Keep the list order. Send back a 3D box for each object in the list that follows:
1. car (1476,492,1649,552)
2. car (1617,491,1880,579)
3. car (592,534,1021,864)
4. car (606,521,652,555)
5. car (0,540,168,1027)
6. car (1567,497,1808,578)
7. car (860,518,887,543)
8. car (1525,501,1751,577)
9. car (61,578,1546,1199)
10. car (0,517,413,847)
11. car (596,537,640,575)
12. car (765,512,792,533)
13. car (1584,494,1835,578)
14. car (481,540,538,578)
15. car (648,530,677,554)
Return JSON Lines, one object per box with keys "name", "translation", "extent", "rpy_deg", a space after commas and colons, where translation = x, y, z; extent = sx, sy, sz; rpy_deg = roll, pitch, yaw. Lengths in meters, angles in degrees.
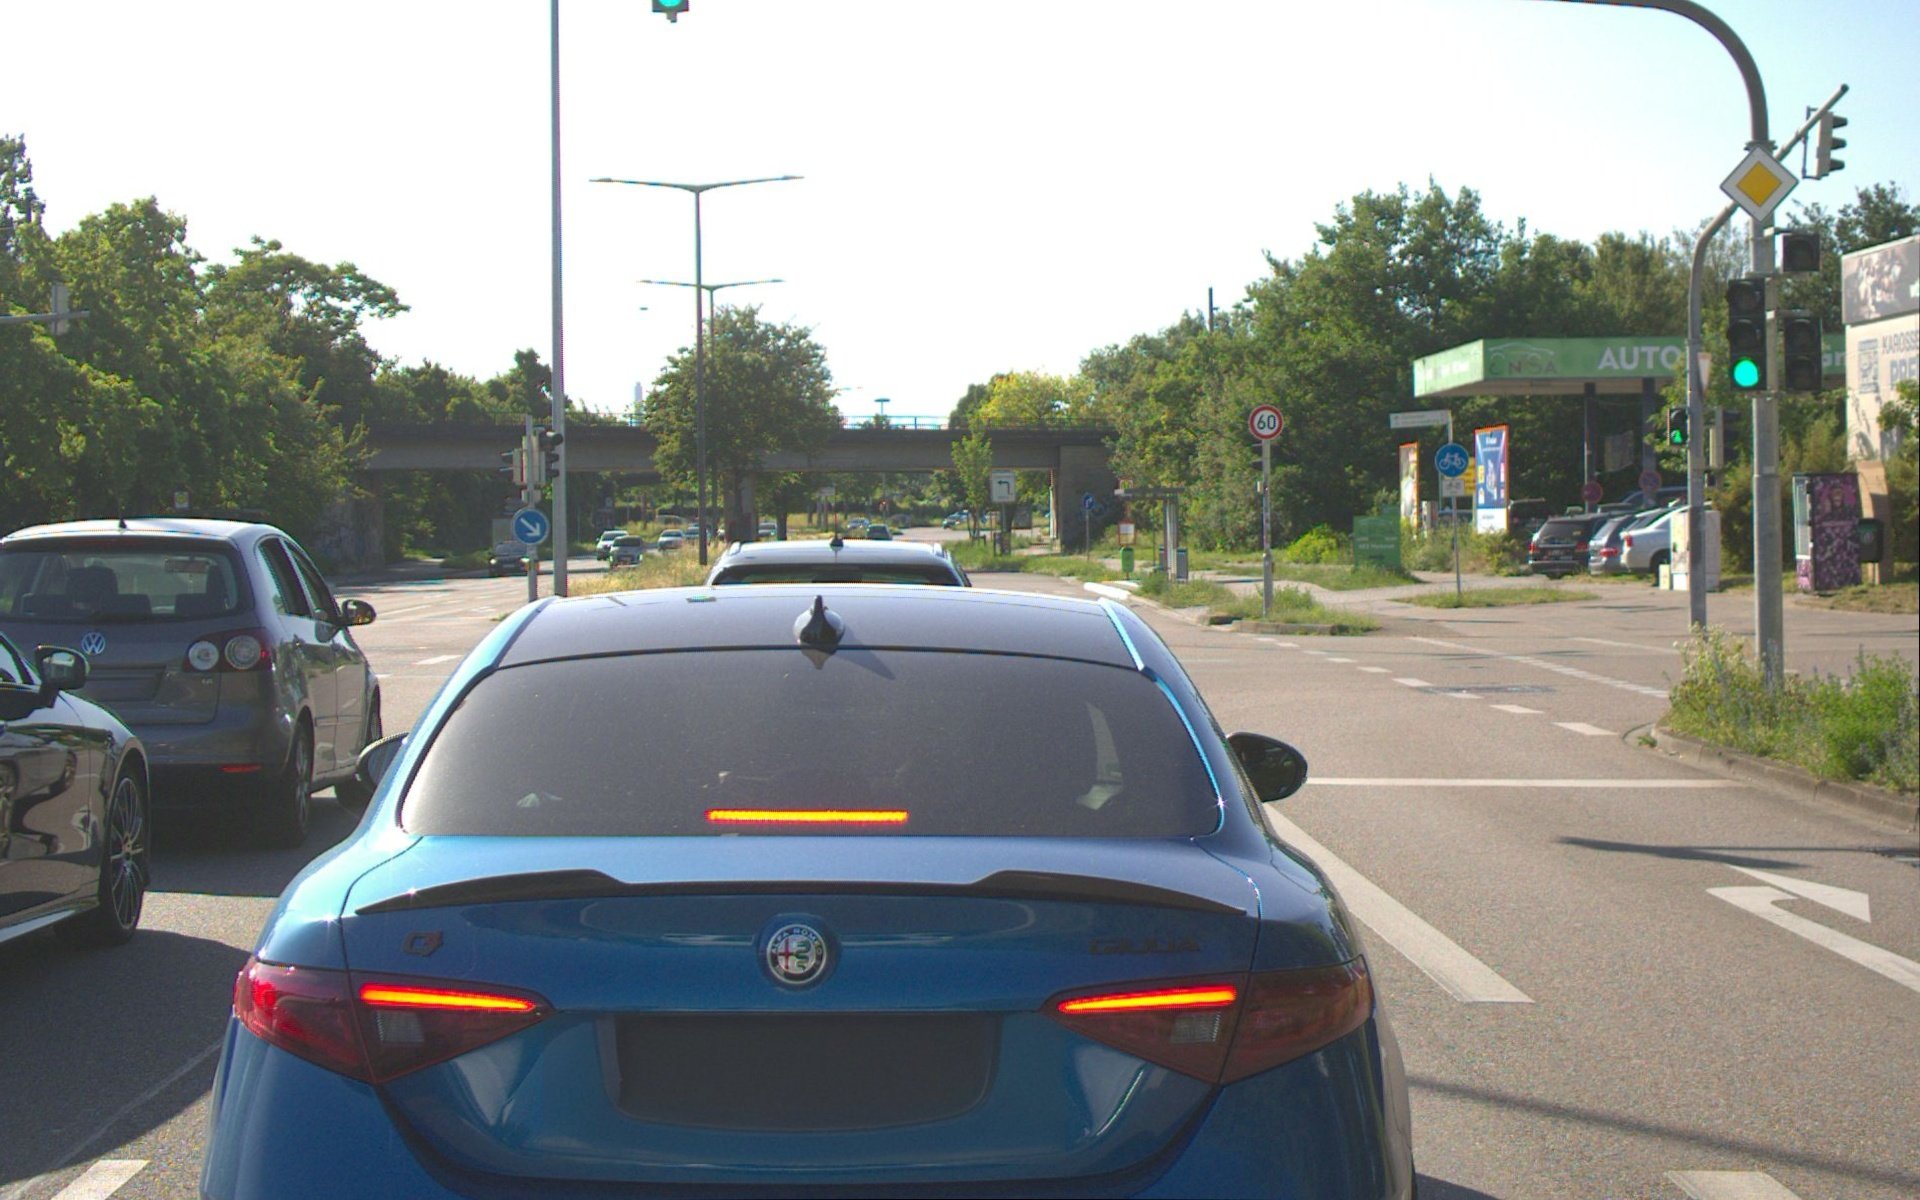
{"name": "car", "translation": [17.039, -2.201, 97.327], "extent": [4.551, 1.485, 1.765], "rpy_deg": [-2, 1, 1]}
{"name": "car", "translation": [14.771, -1.213, 64.580], "extent": [4.489, 1.449, 1.858], "rpy_deg": [-2, 1, 1]}
{"name": "car", "translation": [-0.731, 0.409, 17.179], "extent": [1.850, 1.413, 4.403], "rpy_deg": [1, 1, -2]}
{"name": "car", "translation": [-15.429, -2.873, 160.385], "extent": [1.759, 1.485, 3.837], "rpy_deg": [-2, 1, 0]}
{"name": "car", "translation": [-3.823, 0.545, 10.673], "extent": [1.796, 1.485, 4.476], "rpy_deg": [1, 1, -2]}
{"name": "car", "translation": [14.811, -1.269, 70.113], "extent": [4.489, 1.449, 1.858], "rpy_deg": [-2, 1, 1]}
{"name": "car", "translation": [-6.418, -5.155, 254.835], "extent": [1.891, 1.809, 4.000], "rpy_deg": [1, 1, -1]}
{"name": "car", "translation": [14.591, -1.317, 74.163], "extent": [4.489, 1.449, 1.858], "rpy_deg": [-2, 1, 1]}
{"name": "car", "translation": [-0.264, 0.686, 6.617], "extent": [1.895, 1.413, 4.403], "rpy_deg": [1, 1, -2]}
{"name": "car", "translation": [-4.015, 0.349, 17.846], "extent": [1.759, 1.485, 4.403], "rpy_deg": [1, 1, -2]}
{"name": "car", "translation": [-18.538, -2.386, 186.263], "extent": [1.993, 2.007, 4.000], "rpy_deg": [1, 1, -1]}
{"name": "car", "translation": [-13.623, -5.783, 258.118], "extent": [1.759, 1.485, 4.478], "rpy_deg": [-2, 1, 0]}
{"name": "car", "translation": [14.655, -1.252, 67.359], "extent": [4.489, 1.449, 1.858], "rpy_deg": [-2, 1, 1]}
{"name": "car", "translation": [-18.778, -1.704, 143.392], "extent": [1.759, 1.485, 4.478], "rpy_deg": [-2, 1, 0]}
{"name": "car", "translation": [-19.435, -3.800, 224.905], "extent": [1.615, 1.554, 3.358], "rpy_deg": [1, 1, -1]}
